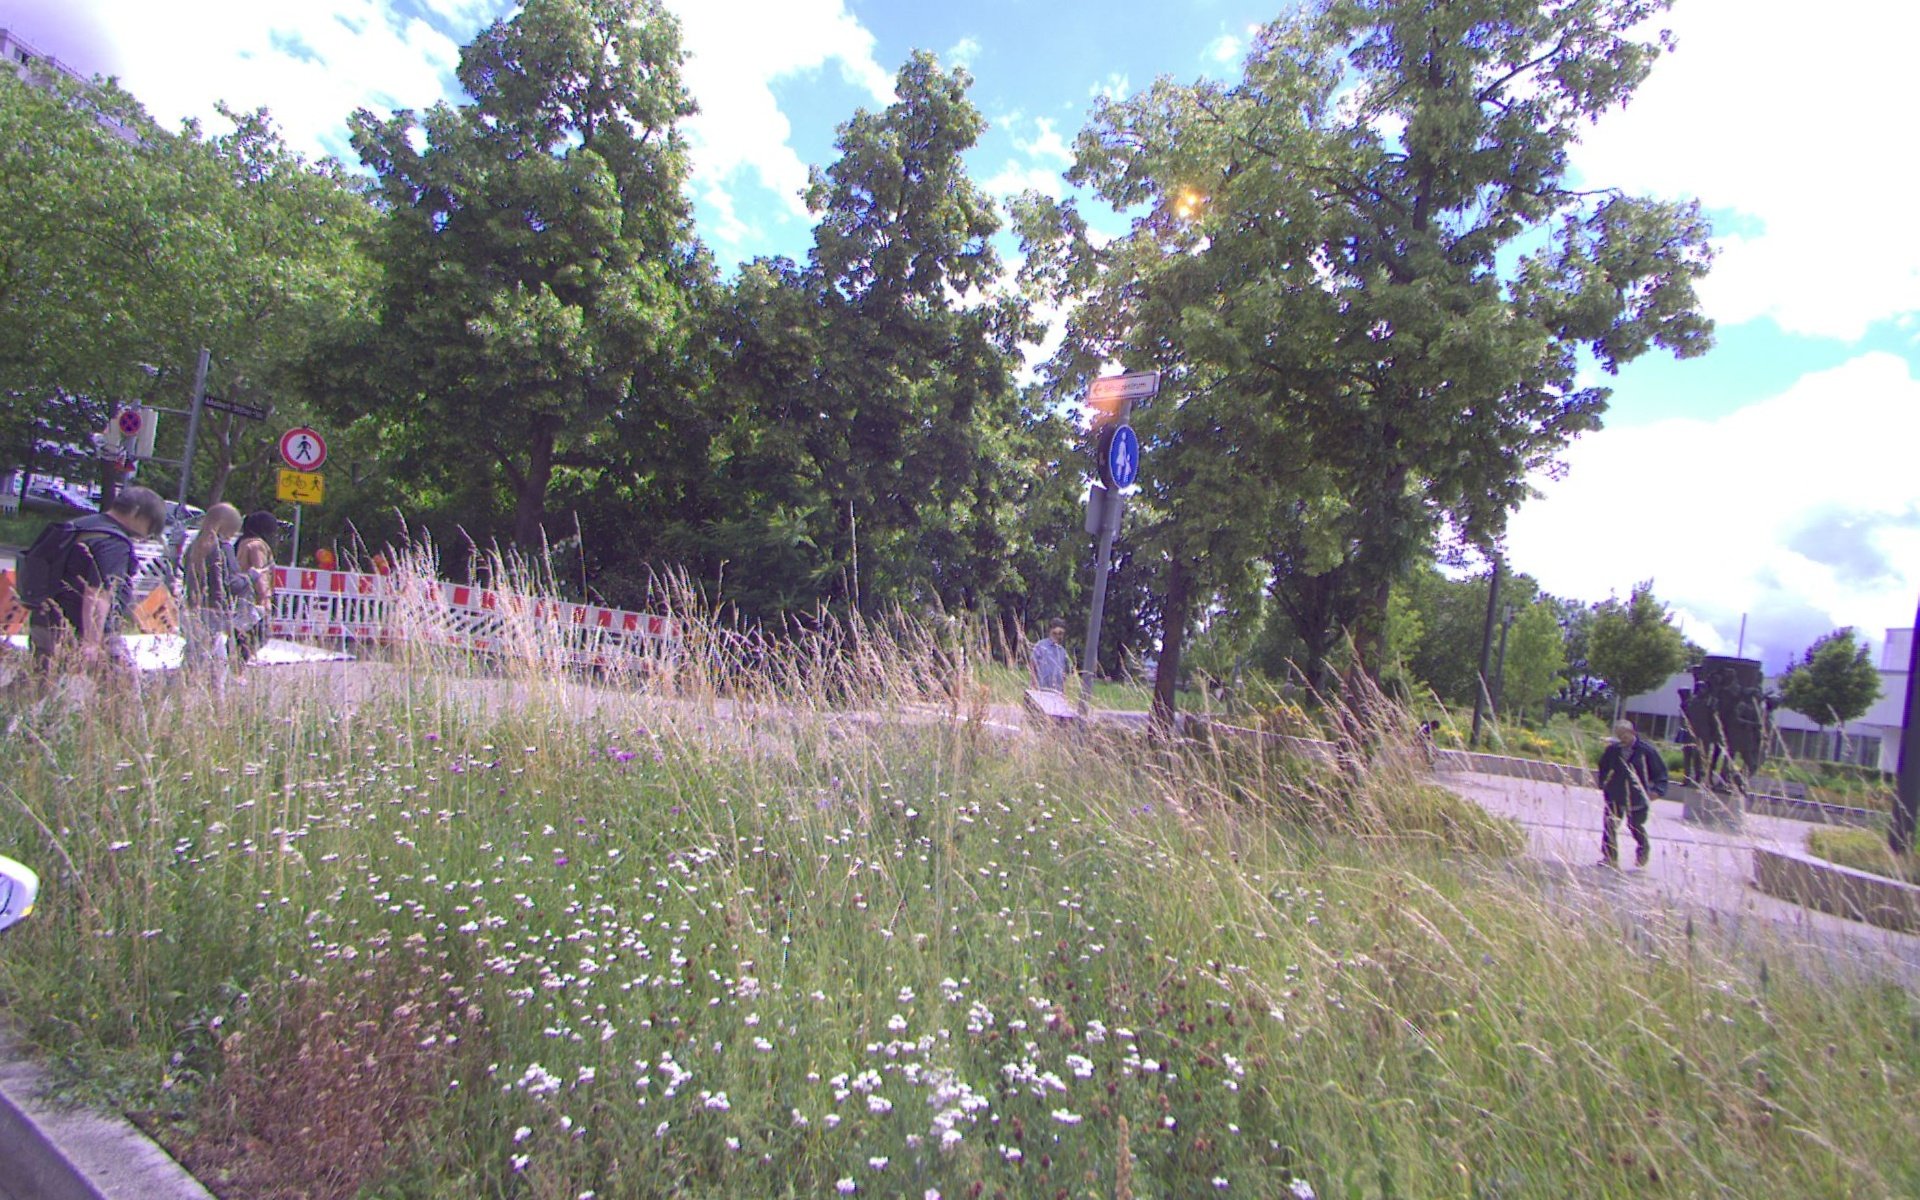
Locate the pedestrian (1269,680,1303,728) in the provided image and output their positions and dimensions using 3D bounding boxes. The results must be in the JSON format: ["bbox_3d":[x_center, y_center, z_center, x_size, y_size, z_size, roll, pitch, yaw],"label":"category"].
[{"bbox_3d":[15.198,4.853,46.898,1.137,2.037,0.817,8,0,30],"label":"pedestrian"}]

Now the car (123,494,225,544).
[{"bbox_3d":[-44.237,-4.527,56.686,3.926,2.037,2.001,8,-1,0],"label":"car"}]

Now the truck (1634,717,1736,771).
[{"bbox_3d":[37.324,7.392,51.917,1.965,2.037,3.999,8,-1,-4],"label":"truck"}]

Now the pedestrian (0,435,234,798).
[{"bbox_3d":[-4.570,0.079,5.158,0.866,1.667,0.960,7,-1,32],"label":"pedestrian"}]

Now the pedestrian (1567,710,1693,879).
[{"bbox_3d":[7.281,2.096,10.943,0.758,1.644,0.765,8,-1,-36],"label":"pedestrian"}]

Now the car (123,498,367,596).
[{"bbox_3d":[-19.712,-1.386,28.047,1.915,1.895,5.090,7,-2,28],"label":"car"}]

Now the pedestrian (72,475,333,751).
[{"bbox_3d":[-5.094,0.100,6.792,0.914,1.667,1.021,7,-1,35],"label":"pedestrian"}]

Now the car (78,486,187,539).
[{"bbox_3d":[-43.783,-4.600,53.283,3.926,2.037,2.001,8,-1,0],"label":"car"}]

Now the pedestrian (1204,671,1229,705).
[{"bbox_3d":[13.583,4.676,53.289,0.872,1.681,0.817,8,-1,30],"label":"pedestrian"}]

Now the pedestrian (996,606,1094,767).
[{"bbox_3d":[1.072,1.074,12.584,0.751,1.862,0.771,7,-1,29],"label":"pedestrian"}]

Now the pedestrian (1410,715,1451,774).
[{"bbox_3d":[10.812,3.310,23.123,0.623,1.236,0.618,7,-1,36],"label":"pedestrian"}]

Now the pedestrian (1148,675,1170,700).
[{"bbox_3d":[13.656,6.000,68.909,1.135,1.571,0.818,8,-1,-2],"label":"pedestrian"}]

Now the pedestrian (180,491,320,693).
[{"bbox_3d":[-6.694,-0.078,9.479,0.780,1.763,0.818,8,-1,-44],"label":"pedestrian"}]

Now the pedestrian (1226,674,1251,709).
[{"bbox_3d":[14.631,4.807,52.841,0.879,1.732,0.817,8,-1,30],"label":"pedestrian"}]

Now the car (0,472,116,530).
[{"bbox_3d":[-43.689,-4.776,48.566,3.926,2.037,2.001,8,-1,0],"label":"car"}]
